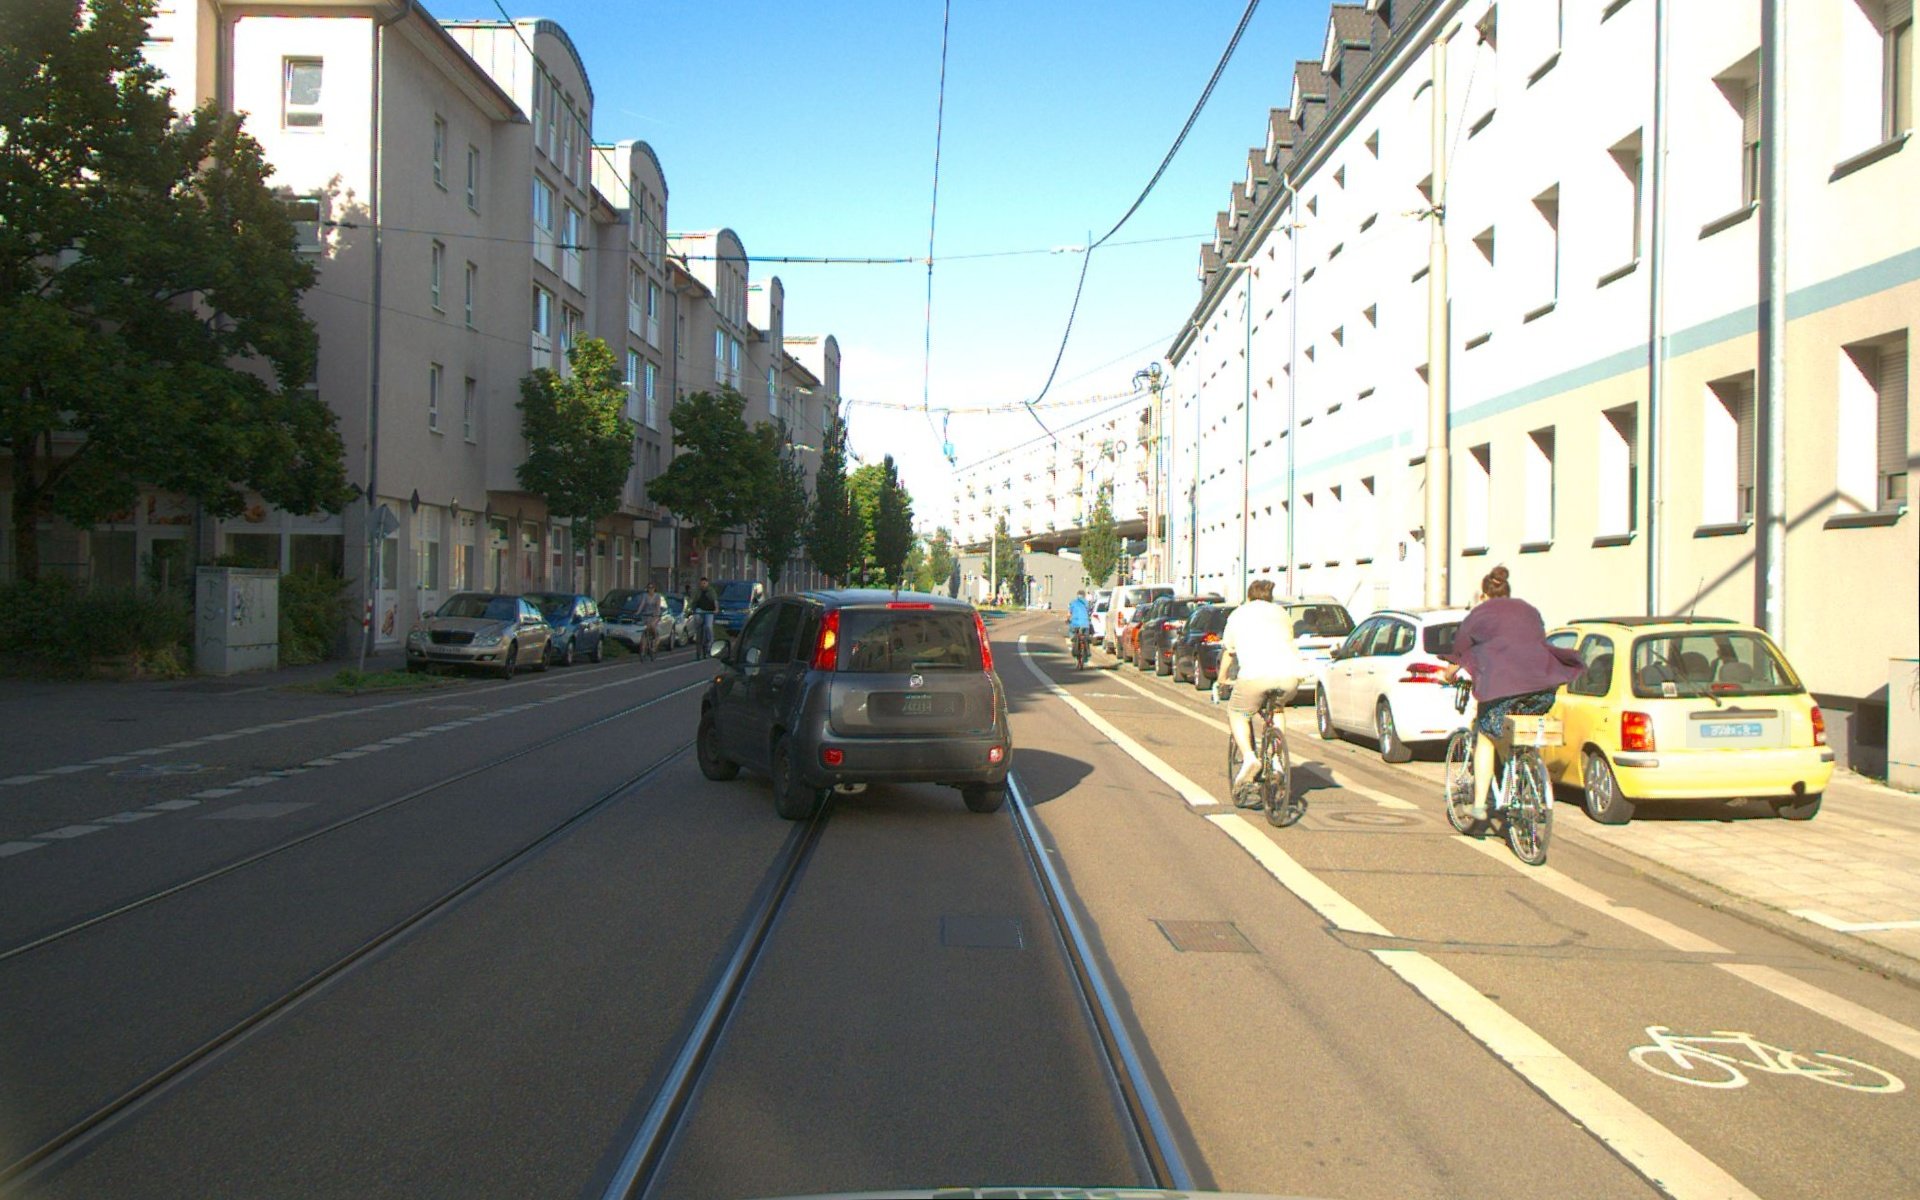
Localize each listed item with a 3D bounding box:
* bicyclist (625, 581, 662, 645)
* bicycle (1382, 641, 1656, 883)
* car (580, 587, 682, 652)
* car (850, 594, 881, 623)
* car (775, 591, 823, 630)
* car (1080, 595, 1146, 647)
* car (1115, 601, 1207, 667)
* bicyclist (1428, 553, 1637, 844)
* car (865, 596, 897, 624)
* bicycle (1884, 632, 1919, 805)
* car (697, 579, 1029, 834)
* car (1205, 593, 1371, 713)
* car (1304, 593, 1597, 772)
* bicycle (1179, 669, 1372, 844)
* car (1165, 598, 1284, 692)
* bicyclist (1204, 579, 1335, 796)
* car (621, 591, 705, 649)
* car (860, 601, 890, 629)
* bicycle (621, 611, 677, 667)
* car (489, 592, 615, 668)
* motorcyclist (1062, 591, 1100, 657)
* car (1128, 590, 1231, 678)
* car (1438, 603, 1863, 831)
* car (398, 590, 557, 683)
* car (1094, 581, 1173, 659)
[{"bbox_3d":[-7.220,0.284,37.767,0.610,1.404,0.868,-3,0,-1],"label":"bicyclist"},{"bbox_3d":[3.454,0.940,10.518,0.804,1.258,2.461,2,0,-2],"label":"bicycle"},{"bbox_3d":[-8.674,0.477,43.916,1.792,1.621,4.001,1,0,1],"label":"car"},{"bbox_3d":[-5.275,0.485,92.433,1.559,1.567,3.191,1,0,0],"label":"car"},{"bbox_3d":[-7.058,0.437,72.739,1.630,1.646,4.000,1,0,1],"label":"car"},{"bbox_3d":[5.201,0.674,56.639,1.806,1.674,4.548,1,0,0],"label":"car"},{"bbox_3d":[4.849,0.795,40.356,1.759,1.509,3.778,1,0,0],"label":"car"},{"bbox_3d":[3.516,0.582,10.242,0.915,1.705,0.969,1,0,-2],"label":"bicyclist"},{"bbox_3d":[-4.897,0.610,102.902,1.806,1.674,3.697,1,0,0],"label":"car"},{"bbox_3d":[7.397,0.857,11.050,1.074,1.218,2.326,1,0,-2],"label":"bicycle"},{"bbox_3d":[-0.858,0.693,12.266,1.533,1.560,3.466,-2,-1,-20],"label":"car"},{"bbox_3d":[4.874,0.732,25.071,1.718,1.598,3.904,-2,0,0],"label":"car"},{"bbox_3d":[4.920,0.741,17.267,1.645,1.598,4.508,-1,0,-1],"label":"car"},{"bbox_3d":[2.195,1.055,11.935,0.724,0.941,2.835,4,0,-2],"label":"bicycle"},{"bbox_3d":[4.763,0.770,30.236,1.559,1.564,4.007,-1,0,1],"label":"car"},{"bbox_3d":[2.213,0.603,11.941,0.713,1.487,1.020,1,0,-2],"label":"bicyclist"},{"bbox_3d":[-8.706,0.563,48.722,1.792,1.621,3.999,1,0,-1],"label":"car"},{"bbox_3d":[-4.920,0.863,96.500,1.559,1.567,3.191,1,0,0],"label":"car"},{"bbox_3d":[-7.130,0.877,38.015,0.822,1.169,2.232,-3,0,-1],"label":"bicycle"},{"bbox_3d":[-8.792,0.612,35.935,1.792,1.515,3.999,-1,0,-1],"label":"car"},{"bbox_3d":[2.679,0.517,36.740,0.713,1.430,1.020,1,0,-2],"label":"motorcyclist"},{"bbox_3d":[4.629,0.674,35.328,1.626,1.699,3.904,-3,0,0],"label":"car"},{"bbox_3d":[5.137,0.769,12.939,1.483,1.456,4.200,0,0,-1],"label":"car"},{"bbox_3d":[-8.665,0.608,30.029,1.709,1.468,3.999,3,0,-1],"label":"car"},{"bbox_3d":[4.684,0.509,45.156,1.750,2.005,4.154,-1,0,0],"label":"car"}]
